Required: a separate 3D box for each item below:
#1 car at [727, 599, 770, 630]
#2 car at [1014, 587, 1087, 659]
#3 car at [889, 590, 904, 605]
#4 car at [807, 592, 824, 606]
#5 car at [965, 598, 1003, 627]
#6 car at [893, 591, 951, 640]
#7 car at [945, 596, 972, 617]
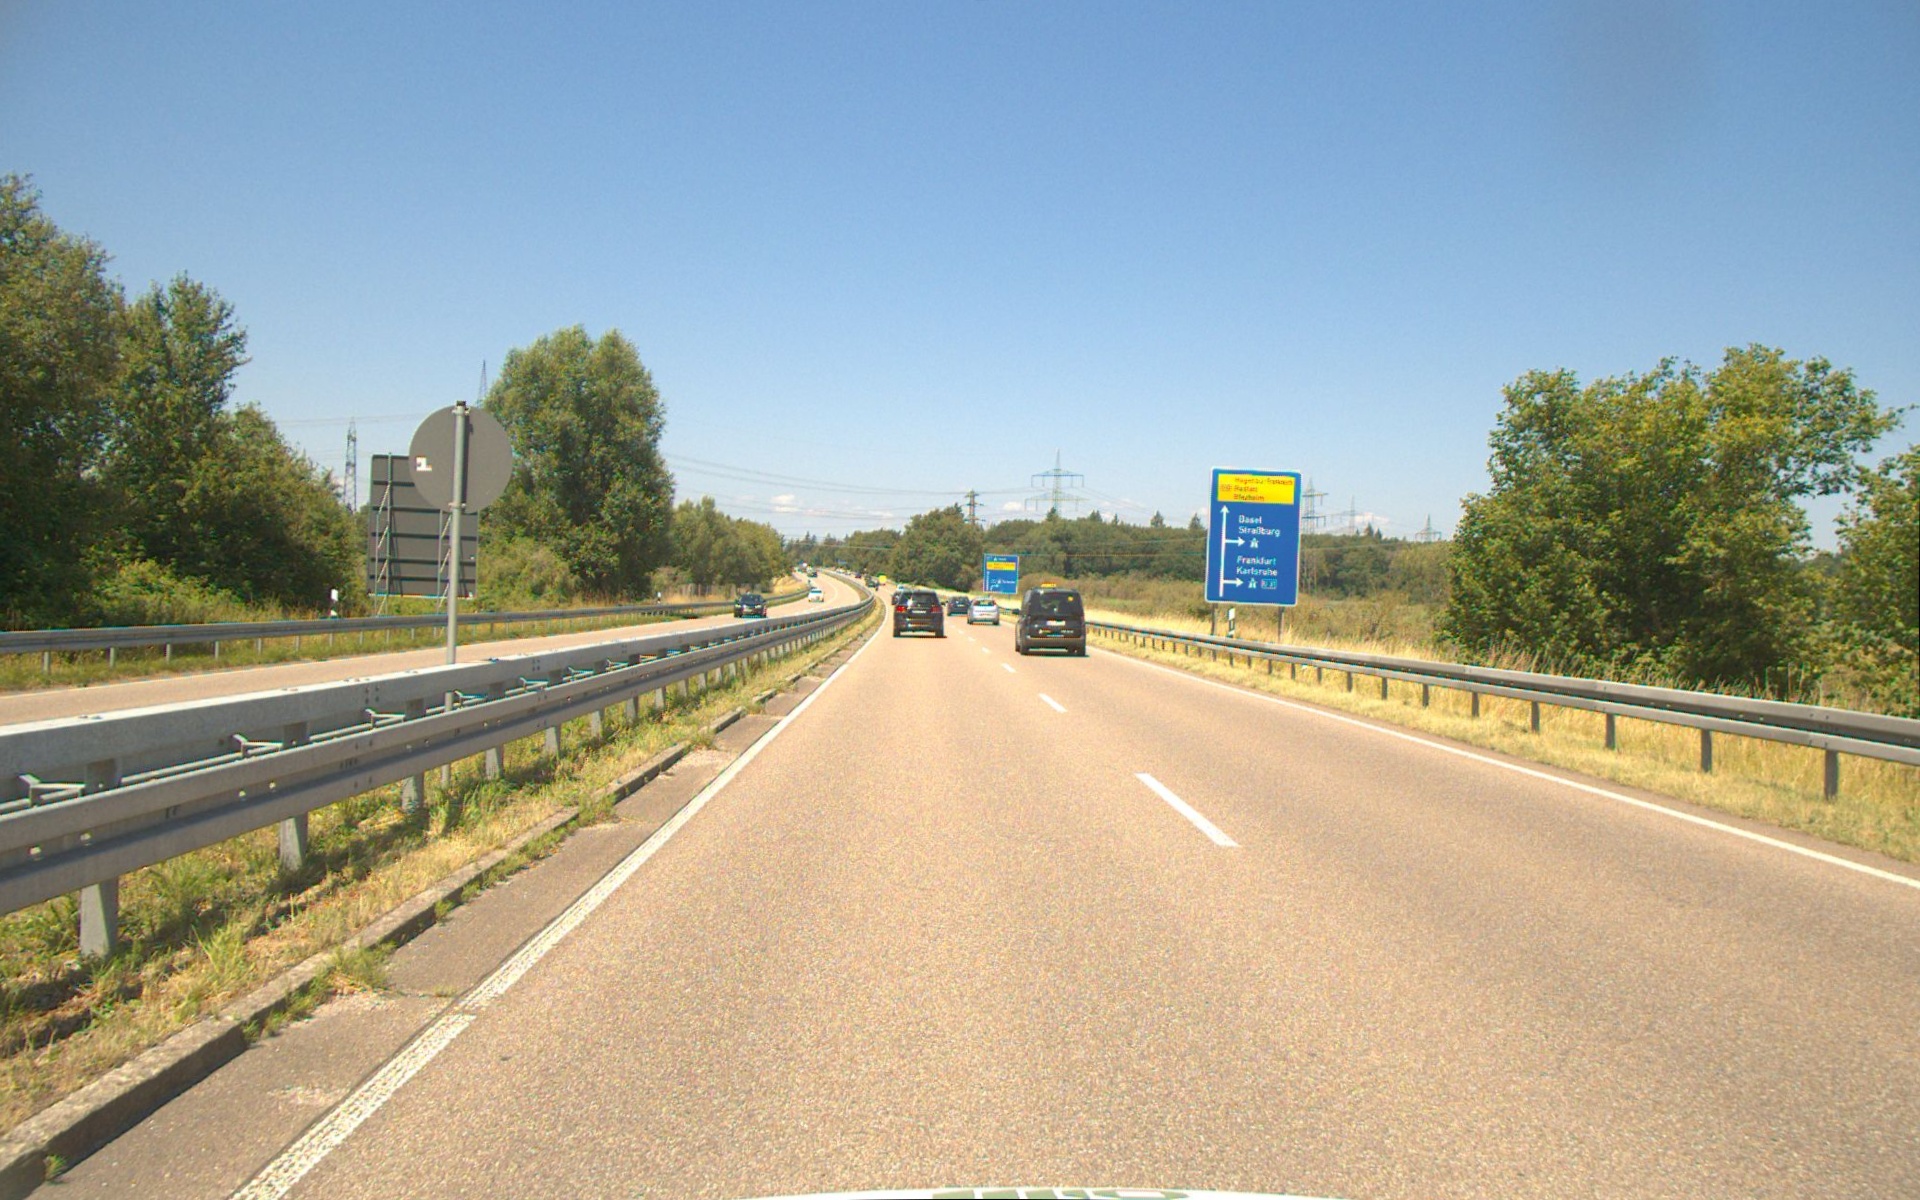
[{"bbox_3d":[-12.848,0.843,100.654,1.953,1.665,4.872,4,0,-1],"label":"car"},{"bbox_3d":[2.504,0.624,46.427,1.743,1.848,4.212,2,0,0],"label":"car"},{"bbox_3d":[-6.903,-0.274,180.154,1.485,1.500,3.064,4,0,-3],"label":"car"},{"bbox_3d":[-17.147,-0.110,196.607,1.790,1.524,4.100,2,0,-3],"label":"car"},{"bbox_3d":[1.319,0.680,92.165,1.743,1.505,4.313,3,0,-3],"label":"car"},{"bbox_3d":[-1.475,0.569,62.408,1.954,1.683,3.997,3,0,-3],"label":"car"},{"bbox_3d":[-0.116,0.472,120.601,1.783,1.439,3.999,1,0,-2],"label":"car"}]
